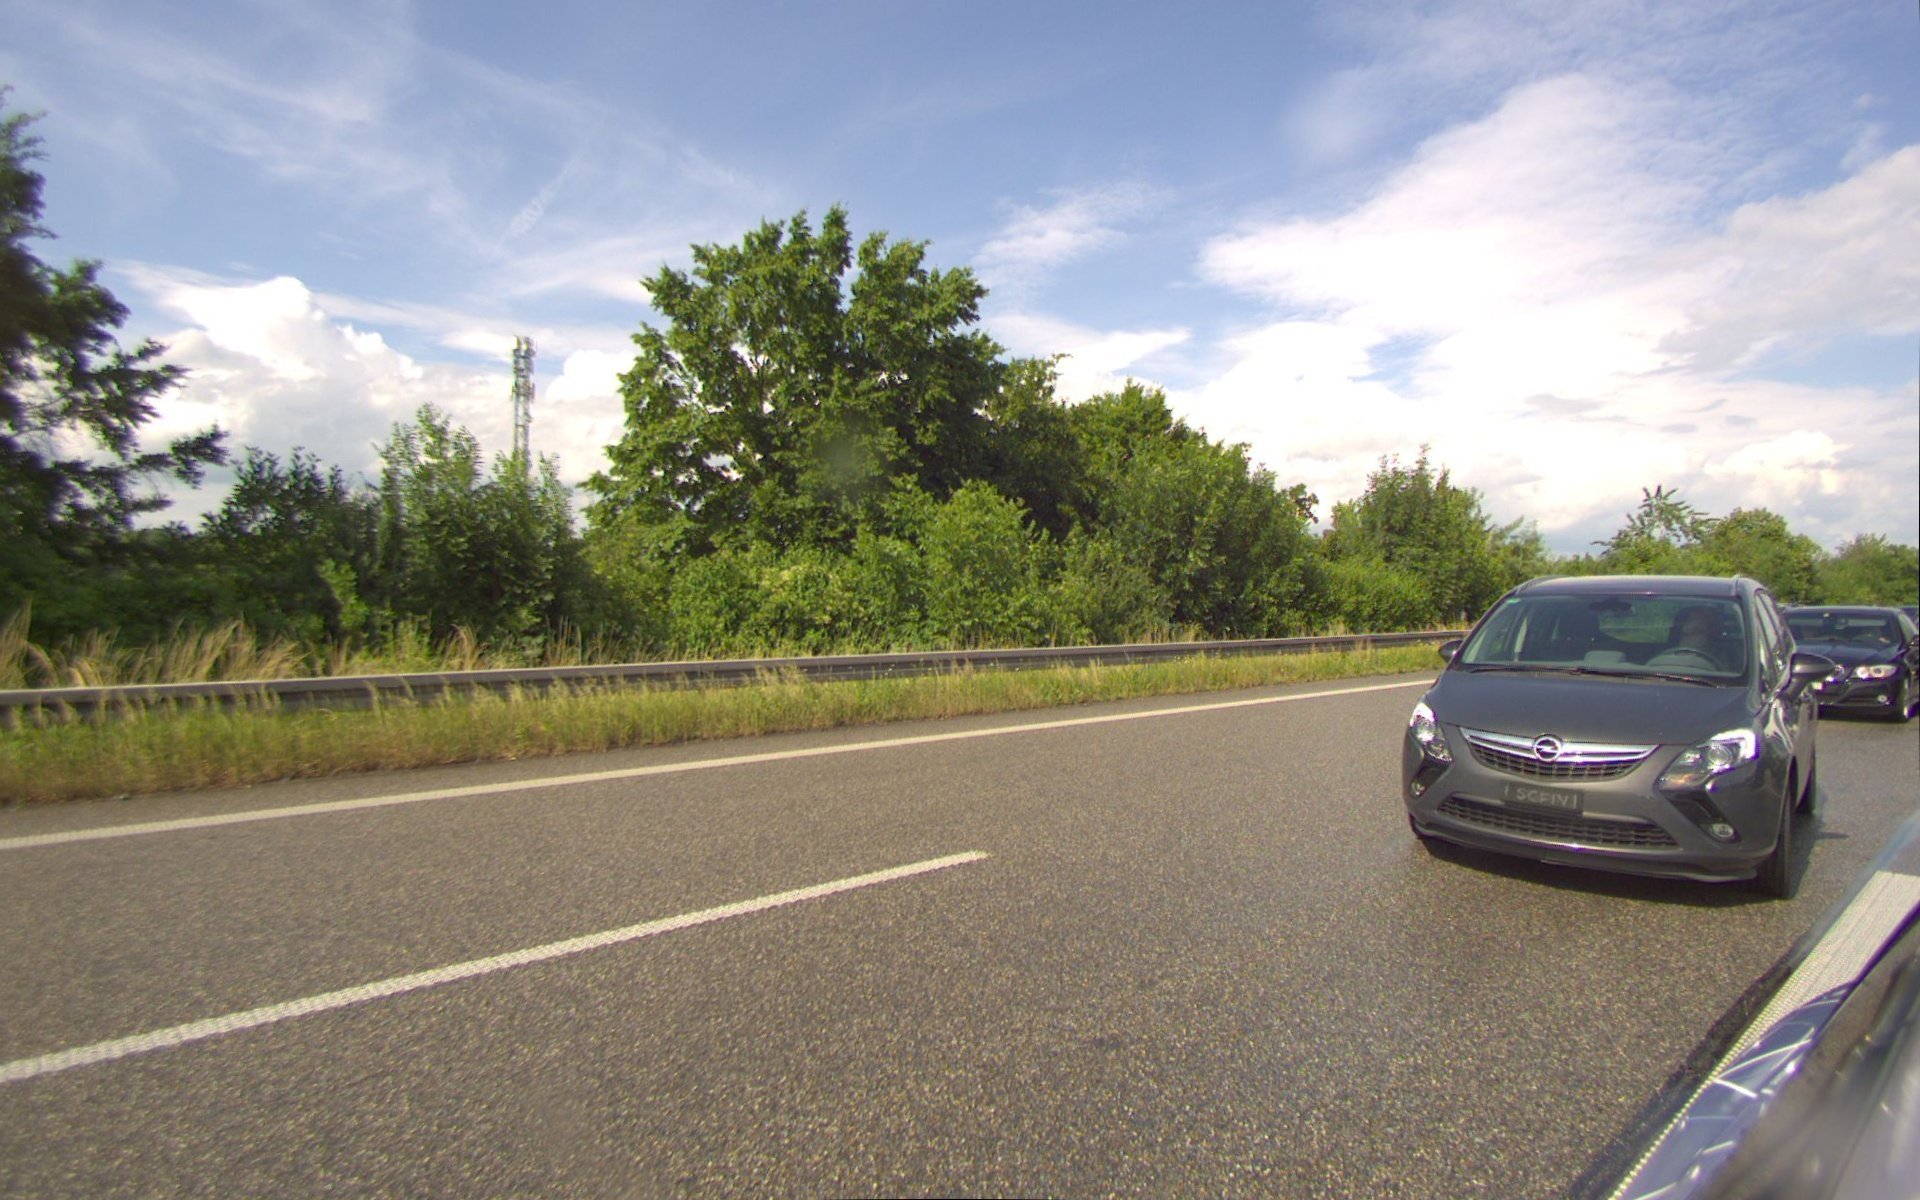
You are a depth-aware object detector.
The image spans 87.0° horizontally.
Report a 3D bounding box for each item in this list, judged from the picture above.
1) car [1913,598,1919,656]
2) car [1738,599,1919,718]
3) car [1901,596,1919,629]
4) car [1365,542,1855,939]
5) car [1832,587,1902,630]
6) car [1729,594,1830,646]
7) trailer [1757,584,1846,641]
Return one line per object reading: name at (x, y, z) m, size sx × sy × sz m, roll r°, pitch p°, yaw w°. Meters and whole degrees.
car at (24.938, 0.651, 25.119) m, size 3.935 × 1.382 × 1.740 m, roll 0°, pitch 0°, yaw -45°
car at (12.069, 0.692, 13.699) m, size 3.816 × 1.371 × 1.721 m, roll 0°, pitch 0°, yaw -41°
car at (41.319, 0.518, 42.782) m, size 4.500 × 1.368 × 1.770 m, roll 0°, pitch 1°, yaw -41°
car at (4.466, 0.570, 6.554) m, size 1.853 × 1.652 × 4.661 m, roll 1°, pitch 0°, yaw 43°
car at (33.859, 0.286, 37.751) m, size 3.422 × 1.507 × 1.614 m, roll 0°, pitch 1°, yaw -42°
car at (24.753, 0.552, 30.528) m, size 4.329 × 1.449 × 1.745 m, roll 0°, pitch 1°, yaw -42°
trailer at (27.752, 0.374, 33.343) m, size 3.901 × 1.768 × 1.807 m, roll 0°, pitch 0°, yaw -43°
